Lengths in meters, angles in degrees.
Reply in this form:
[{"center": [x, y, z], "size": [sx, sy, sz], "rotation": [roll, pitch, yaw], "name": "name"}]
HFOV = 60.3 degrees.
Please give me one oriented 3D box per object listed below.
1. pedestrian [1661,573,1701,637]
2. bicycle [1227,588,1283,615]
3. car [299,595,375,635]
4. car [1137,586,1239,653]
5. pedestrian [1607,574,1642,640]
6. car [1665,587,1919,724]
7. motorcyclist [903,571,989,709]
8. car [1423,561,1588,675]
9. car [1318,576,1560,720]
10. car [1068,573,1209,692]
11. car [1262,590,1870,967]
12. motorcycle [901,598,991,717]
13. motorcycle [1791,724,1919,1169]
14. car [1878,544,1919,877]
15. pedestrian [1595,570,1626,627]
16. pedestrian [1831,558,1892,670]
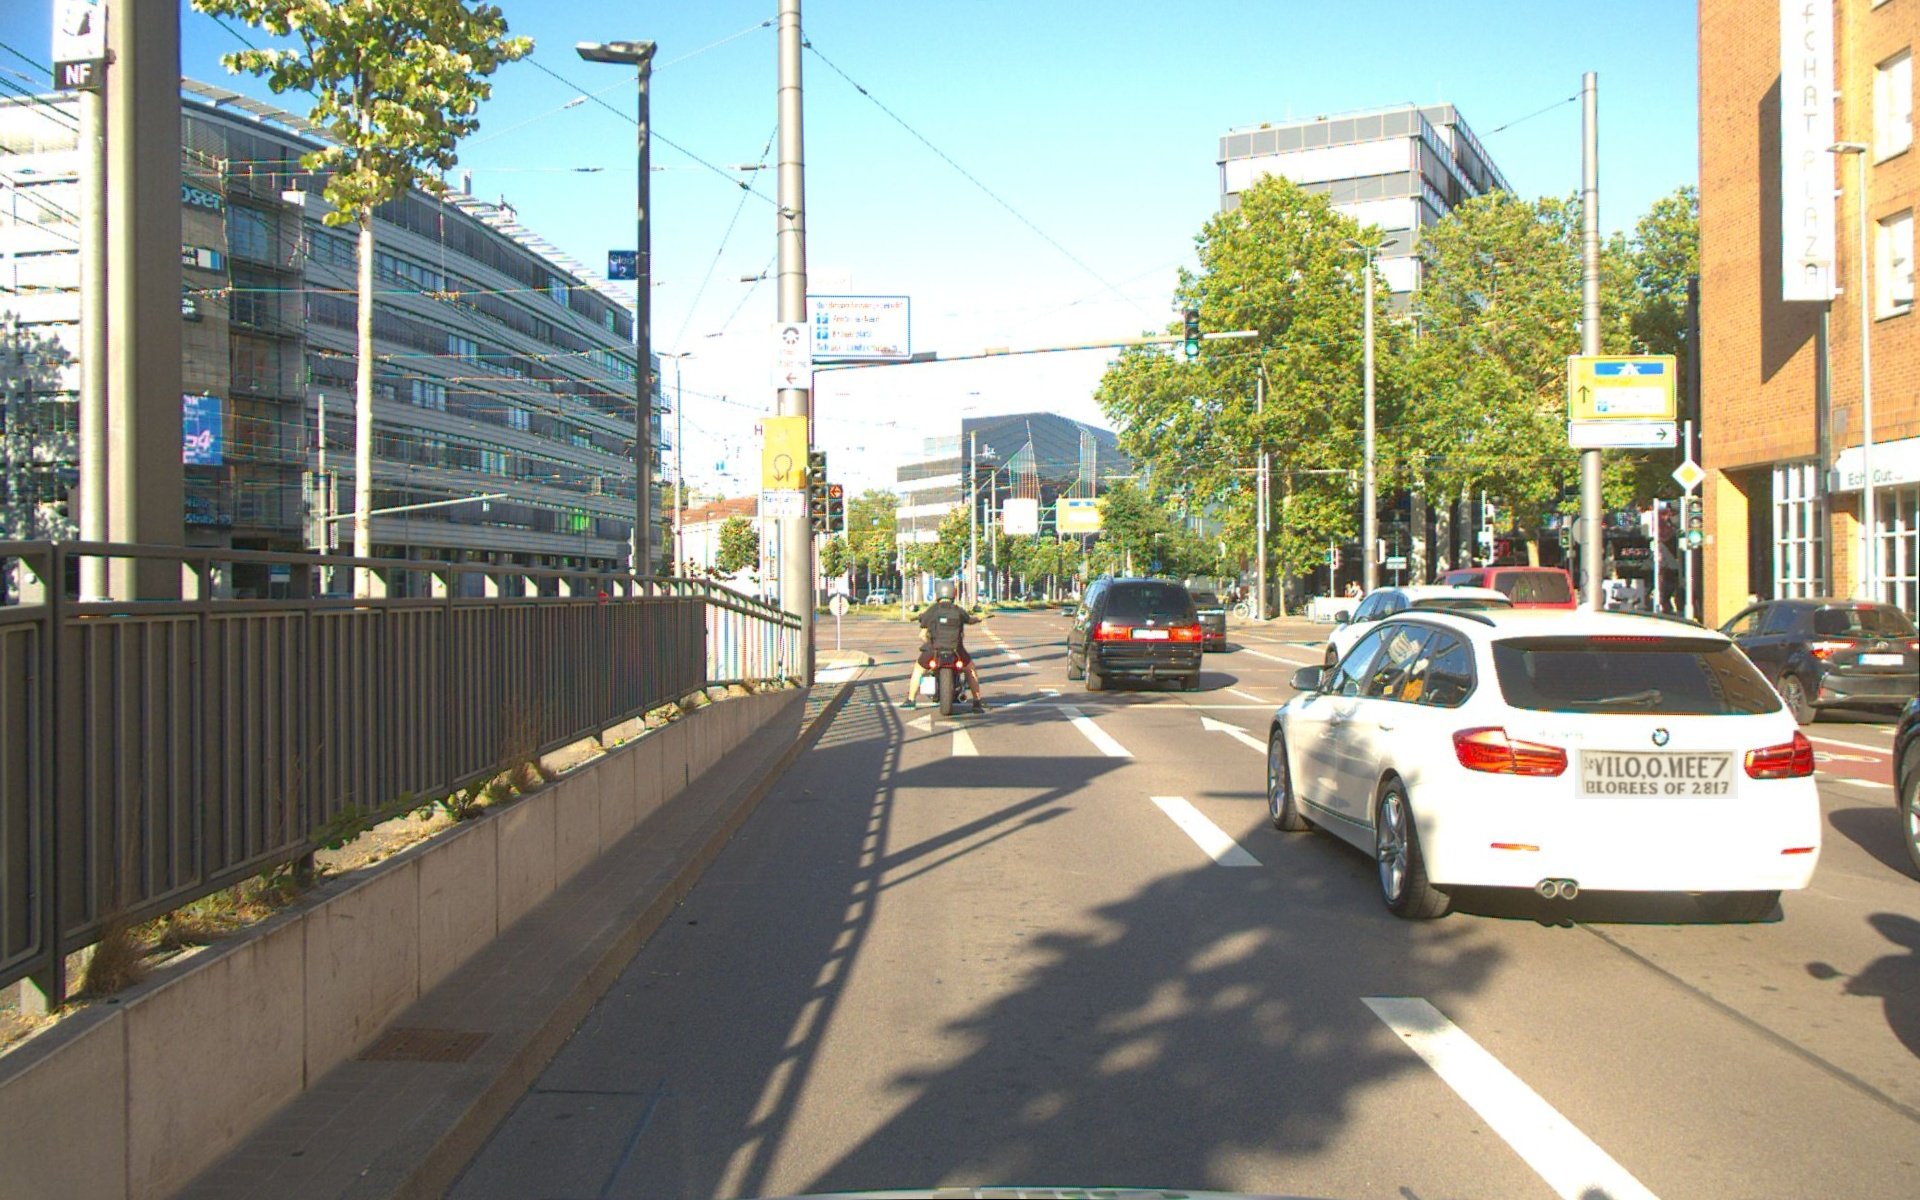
[{"center": [19.219, 0.137, 44.070], "size": [0.809, 1.690, 0.519], "rotation": [1, 0, -1], "name": "pedestrian"}, {"center": [14.334, 0.071, 80.412], "size": [2.635, 1.266, 0.528], "rotation": [0, 0, 22], "name": "bicycle"}, {"center": [-24.362, 0.552, 64.823], "size": [1.956, 1.489, 3.992], "rotation": [0, 0, -8], "name": "car"}, {"center": [5.468, 0.433, 40.226], "size": [1.813, 1.524, 4.378], "rotation": [0, 0, -1], "name": "car"}, {"center": [17.359, 0.186, 43.203], "size": [0.670, 1.690, 0.519], "rotation": [1, 0, -1], "name": "pedestrian"}, {"center": [10.733, 0.629, 21.172], "size": [1.633, 1.557, 3.999], "rotation": [-1, 0, -1], "name": "car"}, {"center": [-0.170, 0.479, 20.502], "size": [0.998, 1.631, 1.148], "rotation": [1, 0, -1], "name": "motorcyclist"}, {"center": [10.229, 0.305, 31.340], "size": [1.822, 1.995, 4.000], "rotation": [-1, 0, 0], "name": "car"}, {"center": [6.062, 0.540, 21.493], "size": [1.813, 1.668, 4.378], "rotation": [0, 0, -1], "name": "car"}, {"center": [2.737, 0.461, 26.172], "size": [1.761, 1.735, 4.062], "rotation": [0, 0, 0], "name": "car"}, {"center": [2.908, 0.725, 9.036], "size": [1.658, 1.523, 4.408], "rotation": [1, 0, 0], "name": "car"}, {"center": [-0.167, 0.657, 20.399], "size": [0.998, 1.335, 2.914], "rotation": [1, 0, 0], "name": "motorcycle"}, {"center": [2.879, 0.913, 3.565], "size": [0.820, 1.081, 2.551], "rotation": [-1, 0, -2], "name": "motorcycle"}, {"center": [6.153, 0.627, 6.976], "size": [1.935, 1.790, 4.632], "rotation": [1, 0, 0], "name": "car"}, {"center": [19.599, -0.051, 49.836], "size": [0.683, 1.690, 0.519], "rotation": [1, 0, -1], "name": "pedestrian"}, {"center": [15.155, 0.226, 27.813], "size": [0.594, 1.853, 0.748], "rotation": [-1, 0, -2], "name": "pedestrian"}]
